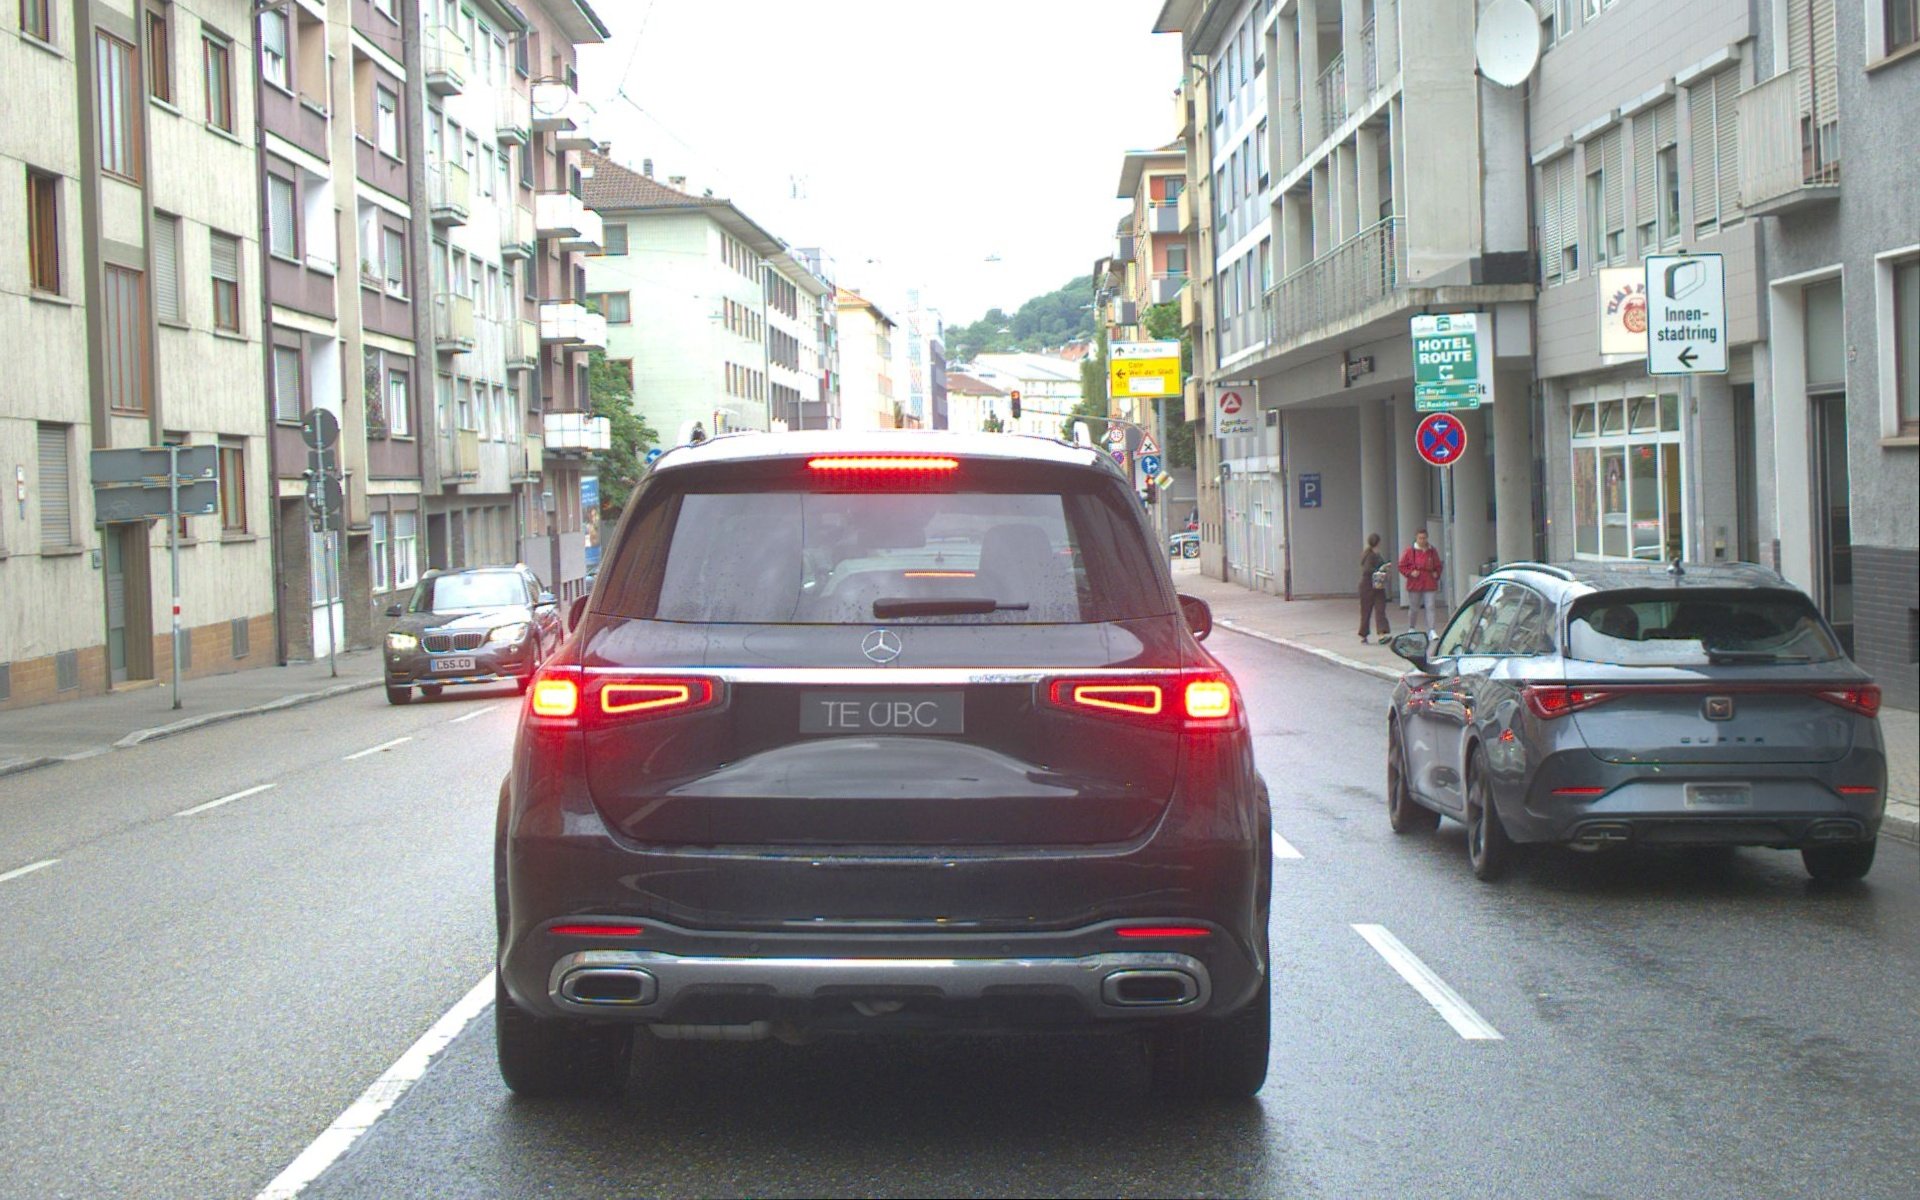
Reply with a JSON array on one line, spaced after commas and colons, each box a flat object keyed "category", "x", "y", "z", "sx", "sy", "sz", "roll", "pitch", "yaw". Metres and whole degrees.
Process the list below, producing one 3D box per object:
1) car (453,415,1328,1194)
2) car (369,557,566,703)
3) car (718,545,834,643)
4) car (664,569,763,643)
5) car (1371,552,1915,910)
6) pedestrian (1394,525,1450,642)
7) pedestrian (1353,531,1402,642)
[{"category": "car", "x": -0.199, "y": 0.447, "z": 10.075, "sx": 2.025, "sy": 1.799, "sz": 4.000, "roll": 1, "pitch": 1, "yaw": -1}, {"category": "car", "x": -5.765, "y": 0.316, "z": 40.643, "sx": 1.703, "sy": 1.502, "sz": 4.160, "roll": -4, "pitch": 1, "yaw": -1}, {"category": "car", "x": -3.571, "y": -0.148, "z": 67.440, "sx": 1.836, "sy": 1.721, "sz": 4.474, "roll": -4, "pitch": 1, "yaw": 1}, {"category": "car", "x": -5.868, "y": 0.127, "z": 82.388, "sx": 1.797, "sy": 1.579, "sz": 4.316, "roll": -3, "pitch": 1, "yaw": 3}, {"category": "car", "x": 3.067, "y": 0.512, "z": 16.296, "sx": 1.621, "sy": 1.425, "sz": 4.312, "roll": 1, "pitch": 1, "yaw": -1}, {"category": "pedestrian", "x": 6.413, "y": -0.230, "z": 47.702, "sx": 0.560, "sy": 1.573, "sz": 0.526, "roll": -4, "pitch": 1, "yaw": -6}, {"category": "pedestrian", "x": 5.783, "y": -0.187, "z": 47.655, "sx": 0.506, "sy": 1.495, "sz": 0.562, "roll": -4, "pitch": 1, "yaw": -1}]
